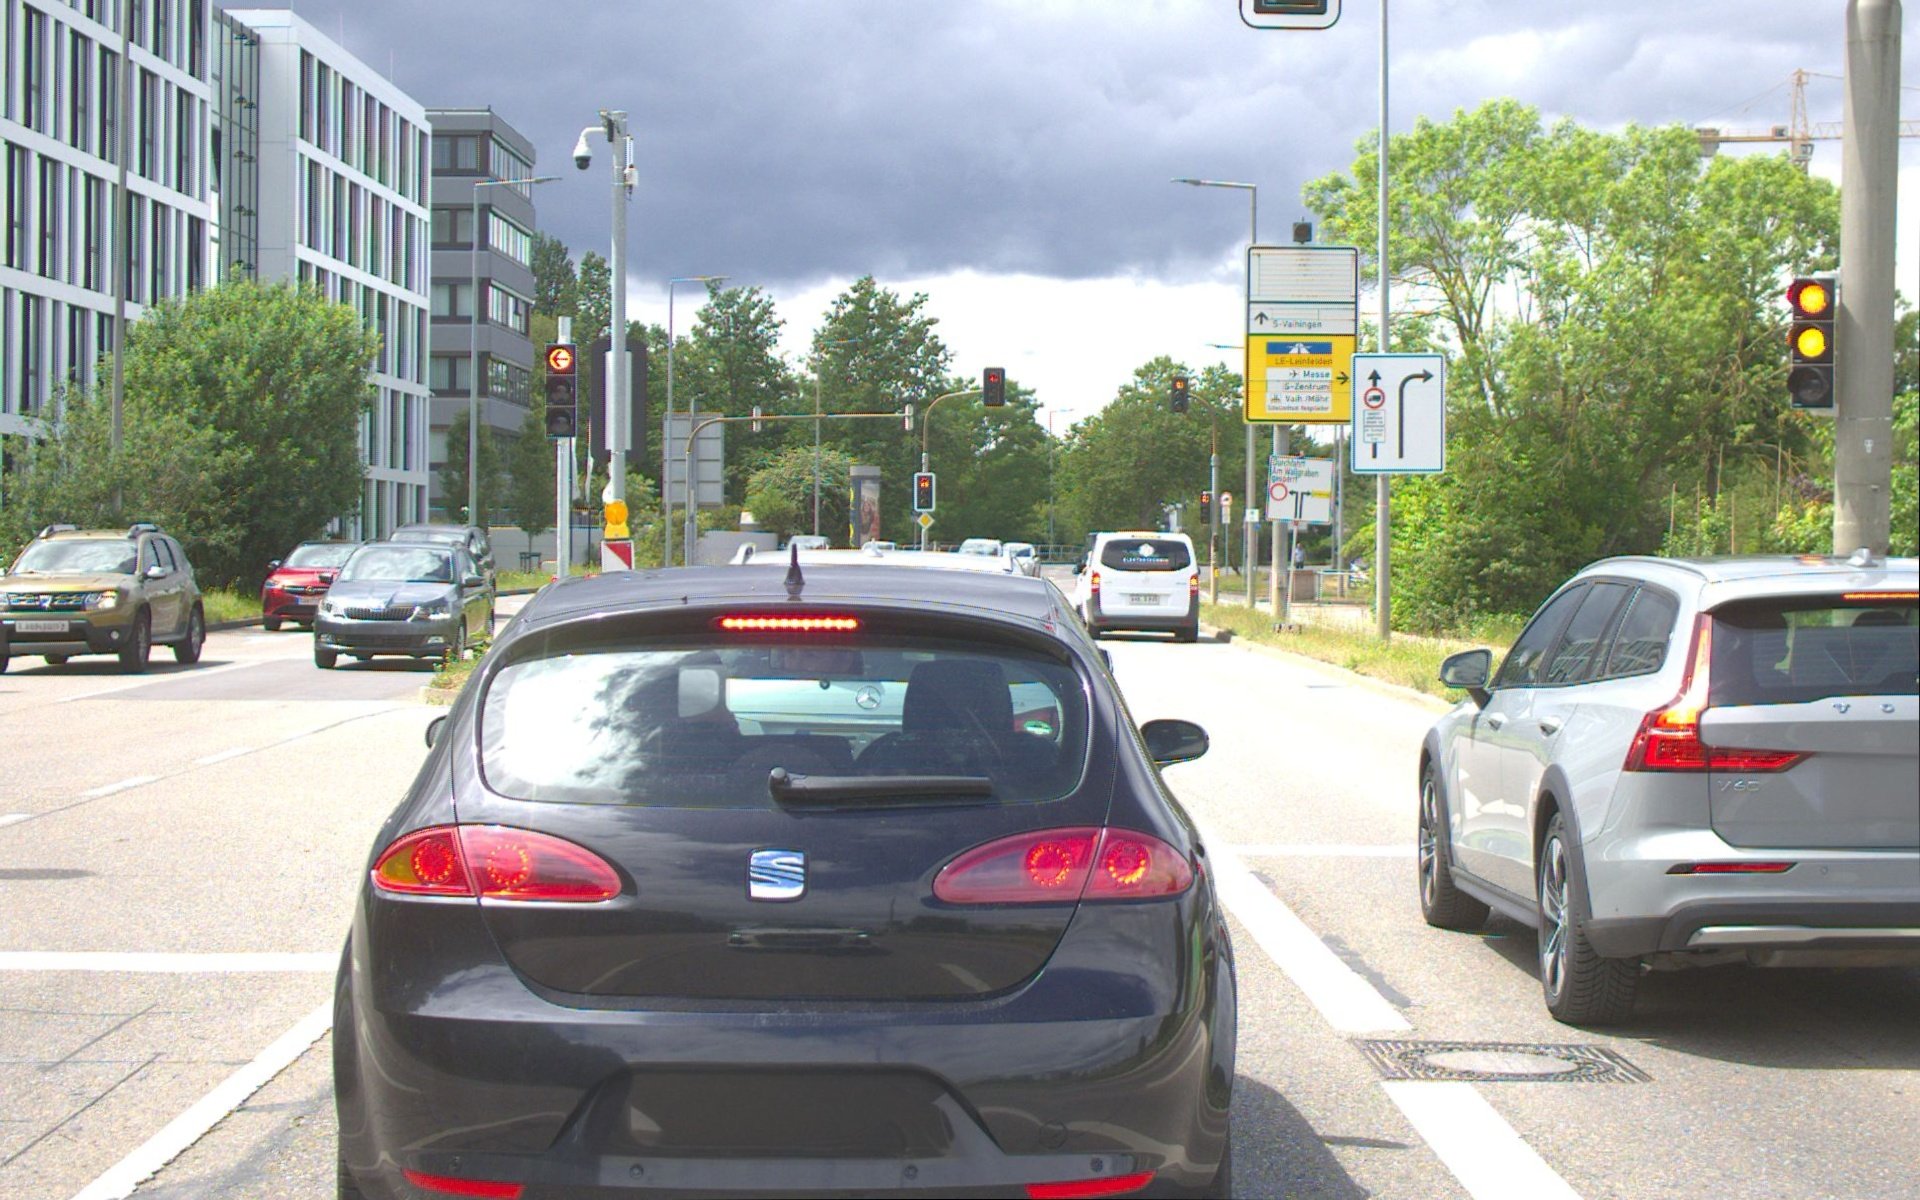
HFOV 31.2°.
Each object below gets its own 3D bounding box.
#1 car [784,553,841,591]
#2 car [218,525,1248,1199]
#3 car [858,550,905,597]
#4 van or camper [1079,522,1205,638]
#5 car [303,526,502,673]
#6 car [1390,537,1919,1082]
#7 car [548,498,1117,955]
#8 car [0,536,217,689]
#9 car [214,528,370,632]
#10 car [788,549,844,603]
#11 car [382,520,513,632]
[{"bbox_3d":[-5.493,-1.050,128.057,1.993,1.404,4.000,0,0,-1],"label":"car"},{"bbox_3d":[-0.304,0.618,7.907,1.748,1.479,4.000,2,0,3],"label":"car"},{"bbox_3d":[-3.351,-1.136,147.152,1.993,2.007,4.000,0,0,-1],"label":"car"},{"bbox_3d":[3.089,-0.353,58.957,1.899,1.919,4.000,0,0,-1],"label":"van or camper"},{"bbox_3d":[-6.471,-0.049,40.264,1.668,1.519,4.008,-2,2,-1],"label":"car"},{"bbox_3d":[2.766,0.566,11.878,1.958,1.520,4.340,-1,0,0],"label":"car"},{"bbox_3d":[-0.497,0.427,14.217,1.983,1.585,4.226,1,1,-1],"label":"car"},{"bbox_3d":[-9.787,0.110,39.233,1.751,1.625,4.000,-1,1,-1],"label":"car"},{"bbox_3d":[-10.684,-0.327,55.250,1.776,1.606,4.000,0,0,-1],"label":"car"},{"bbox_3d":[-5.394,-0.900,129.011,1.993,2.007,4.000,0,0,-1],"label":"car"},{"bbox_3d":[-9.486,-0.452,63.929,1.993,2.007,4.482,0,0,-3],"label":"car"}]
